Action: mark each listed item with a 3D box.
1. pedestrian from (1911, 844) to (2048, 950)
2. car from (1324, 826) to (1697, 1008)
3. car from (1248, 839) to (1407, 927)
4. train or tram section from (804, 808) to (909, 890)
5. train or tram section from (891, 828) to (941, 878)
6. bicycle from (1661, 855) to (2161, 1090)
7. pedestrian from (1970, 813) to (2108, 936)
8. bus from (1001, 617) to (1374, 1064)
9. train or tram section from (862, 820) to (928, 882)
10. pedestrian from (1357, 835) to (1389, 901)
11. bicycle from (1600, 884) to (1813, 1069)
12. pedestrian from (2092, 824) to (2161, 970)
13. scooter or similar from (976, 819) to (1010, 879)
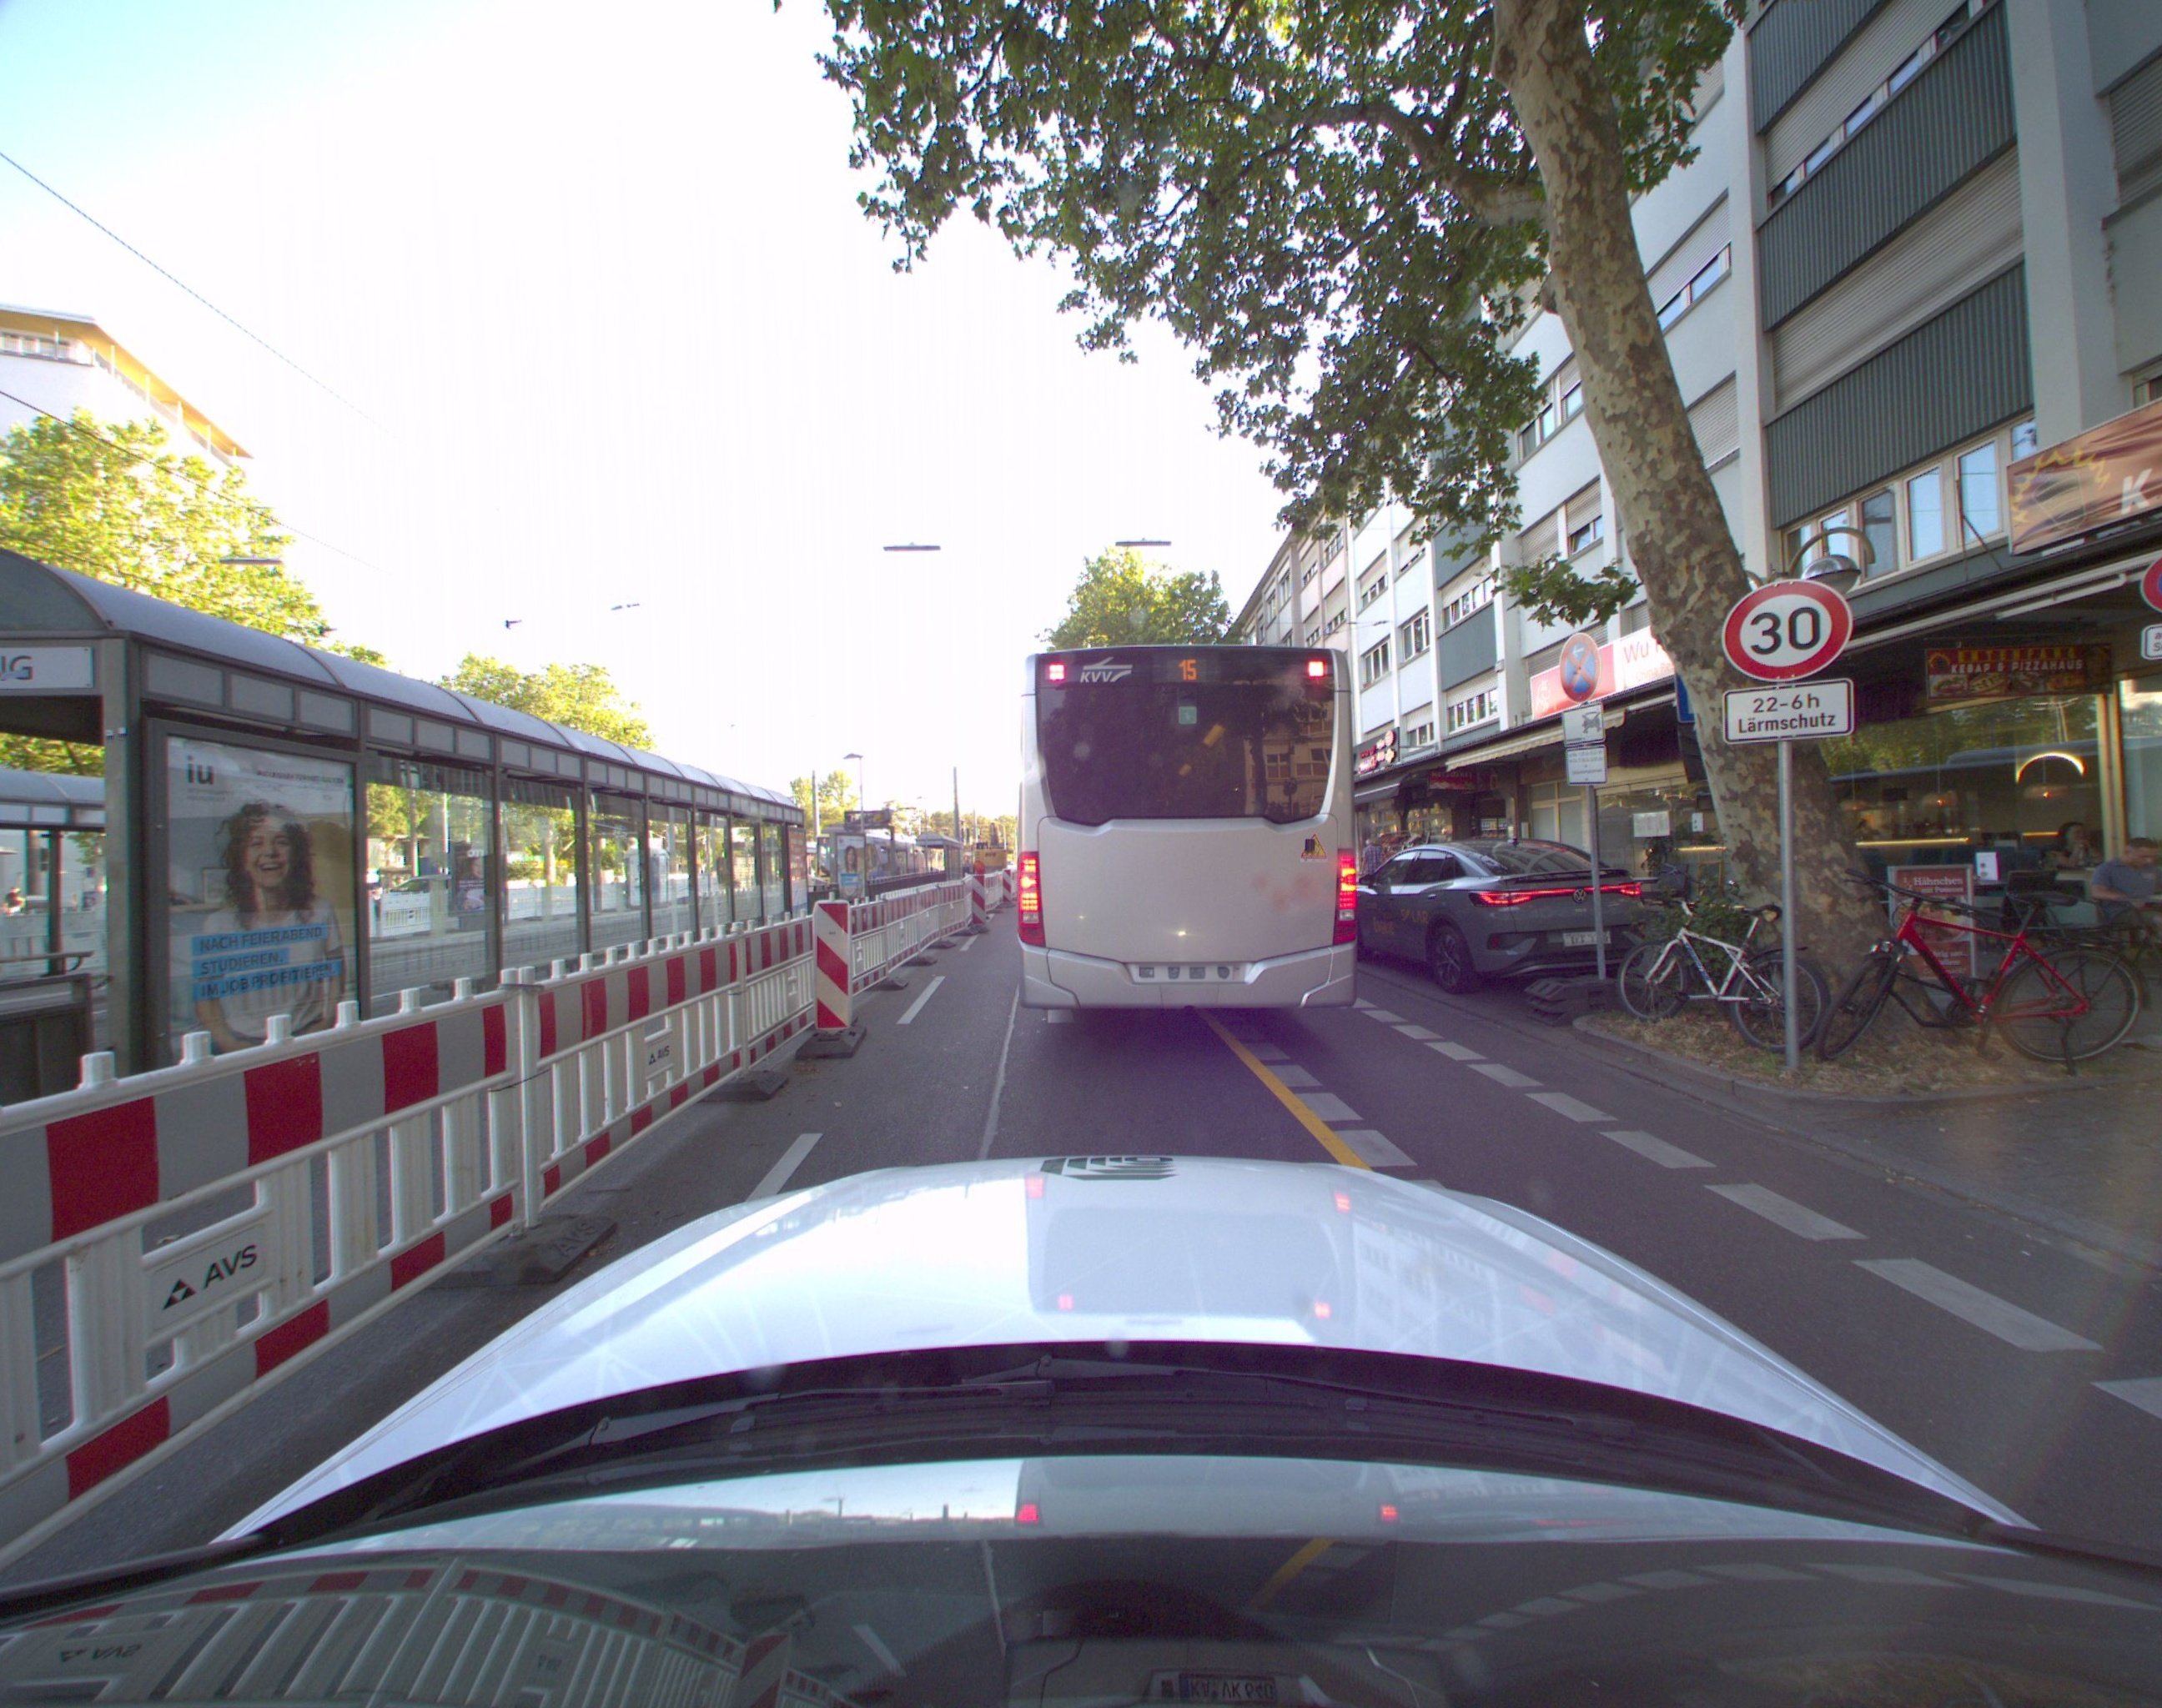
[{"bbox_3d":[9.858,0.448,8.945,0.643,1.081,0.945,-2,-1,-39],"label":"pedestrian"},{"bbox_3d":[4.729,0.586,9.882,1.989,1.582,4.364,-4,0,-3],"label":"car"},{"bbox_3d":[5.300,0.564,18.210,1.989,1.582,4.364,-4,0,-3],"label":"car"},{"bbox_3d":[-10.918,-0.156,40.946,2.681,3.534,11.756,0,-1,-3],"label":"train or tram section"},{"bbox_3d":[-12.820,-0.029,64.056,2.683,3.533,11.558,0,-1,-6],"label":"train or tram section"},{"bbox_3d":[5.056,0.719,4.935,2.370,1.155,0.557,-7,-2,14],"label":"bicycle"},{"bbox_3d":[11.056,0.223,9.417,0.836,1.333,0.963,-2,-1,-39],"label":"pedestrian"},{"bbox_3d":[0.872,-0.073,9.711,2.601,3.126,7.996,0,0,2],"label":"bus"},{"bbox_3d":[-11.762,-0.118,52.553,2.682,3.558,11.559,0,-1,-5],"label":"train or tram section"},{"bbox_3d":[7.601,0.363,21.223,0.658,1.666,0.603,-4,-1,18],"label":"pedestrian"},{"bbox_3d":[4.572,0.833,6.077,0.550,1.155,1.446,-2,-1,6],"label":"bicycle"},{"bbox_3d":[9.613,0.364,7.150,0.555,1.245,0.692,-4,0,8],"label":"pedestrian"},{"bbox_3d":[-6.956,-0.356,64.865,2.465,4.471,5.961,-2,-1,-5],"label":"scooter or similar"}]
